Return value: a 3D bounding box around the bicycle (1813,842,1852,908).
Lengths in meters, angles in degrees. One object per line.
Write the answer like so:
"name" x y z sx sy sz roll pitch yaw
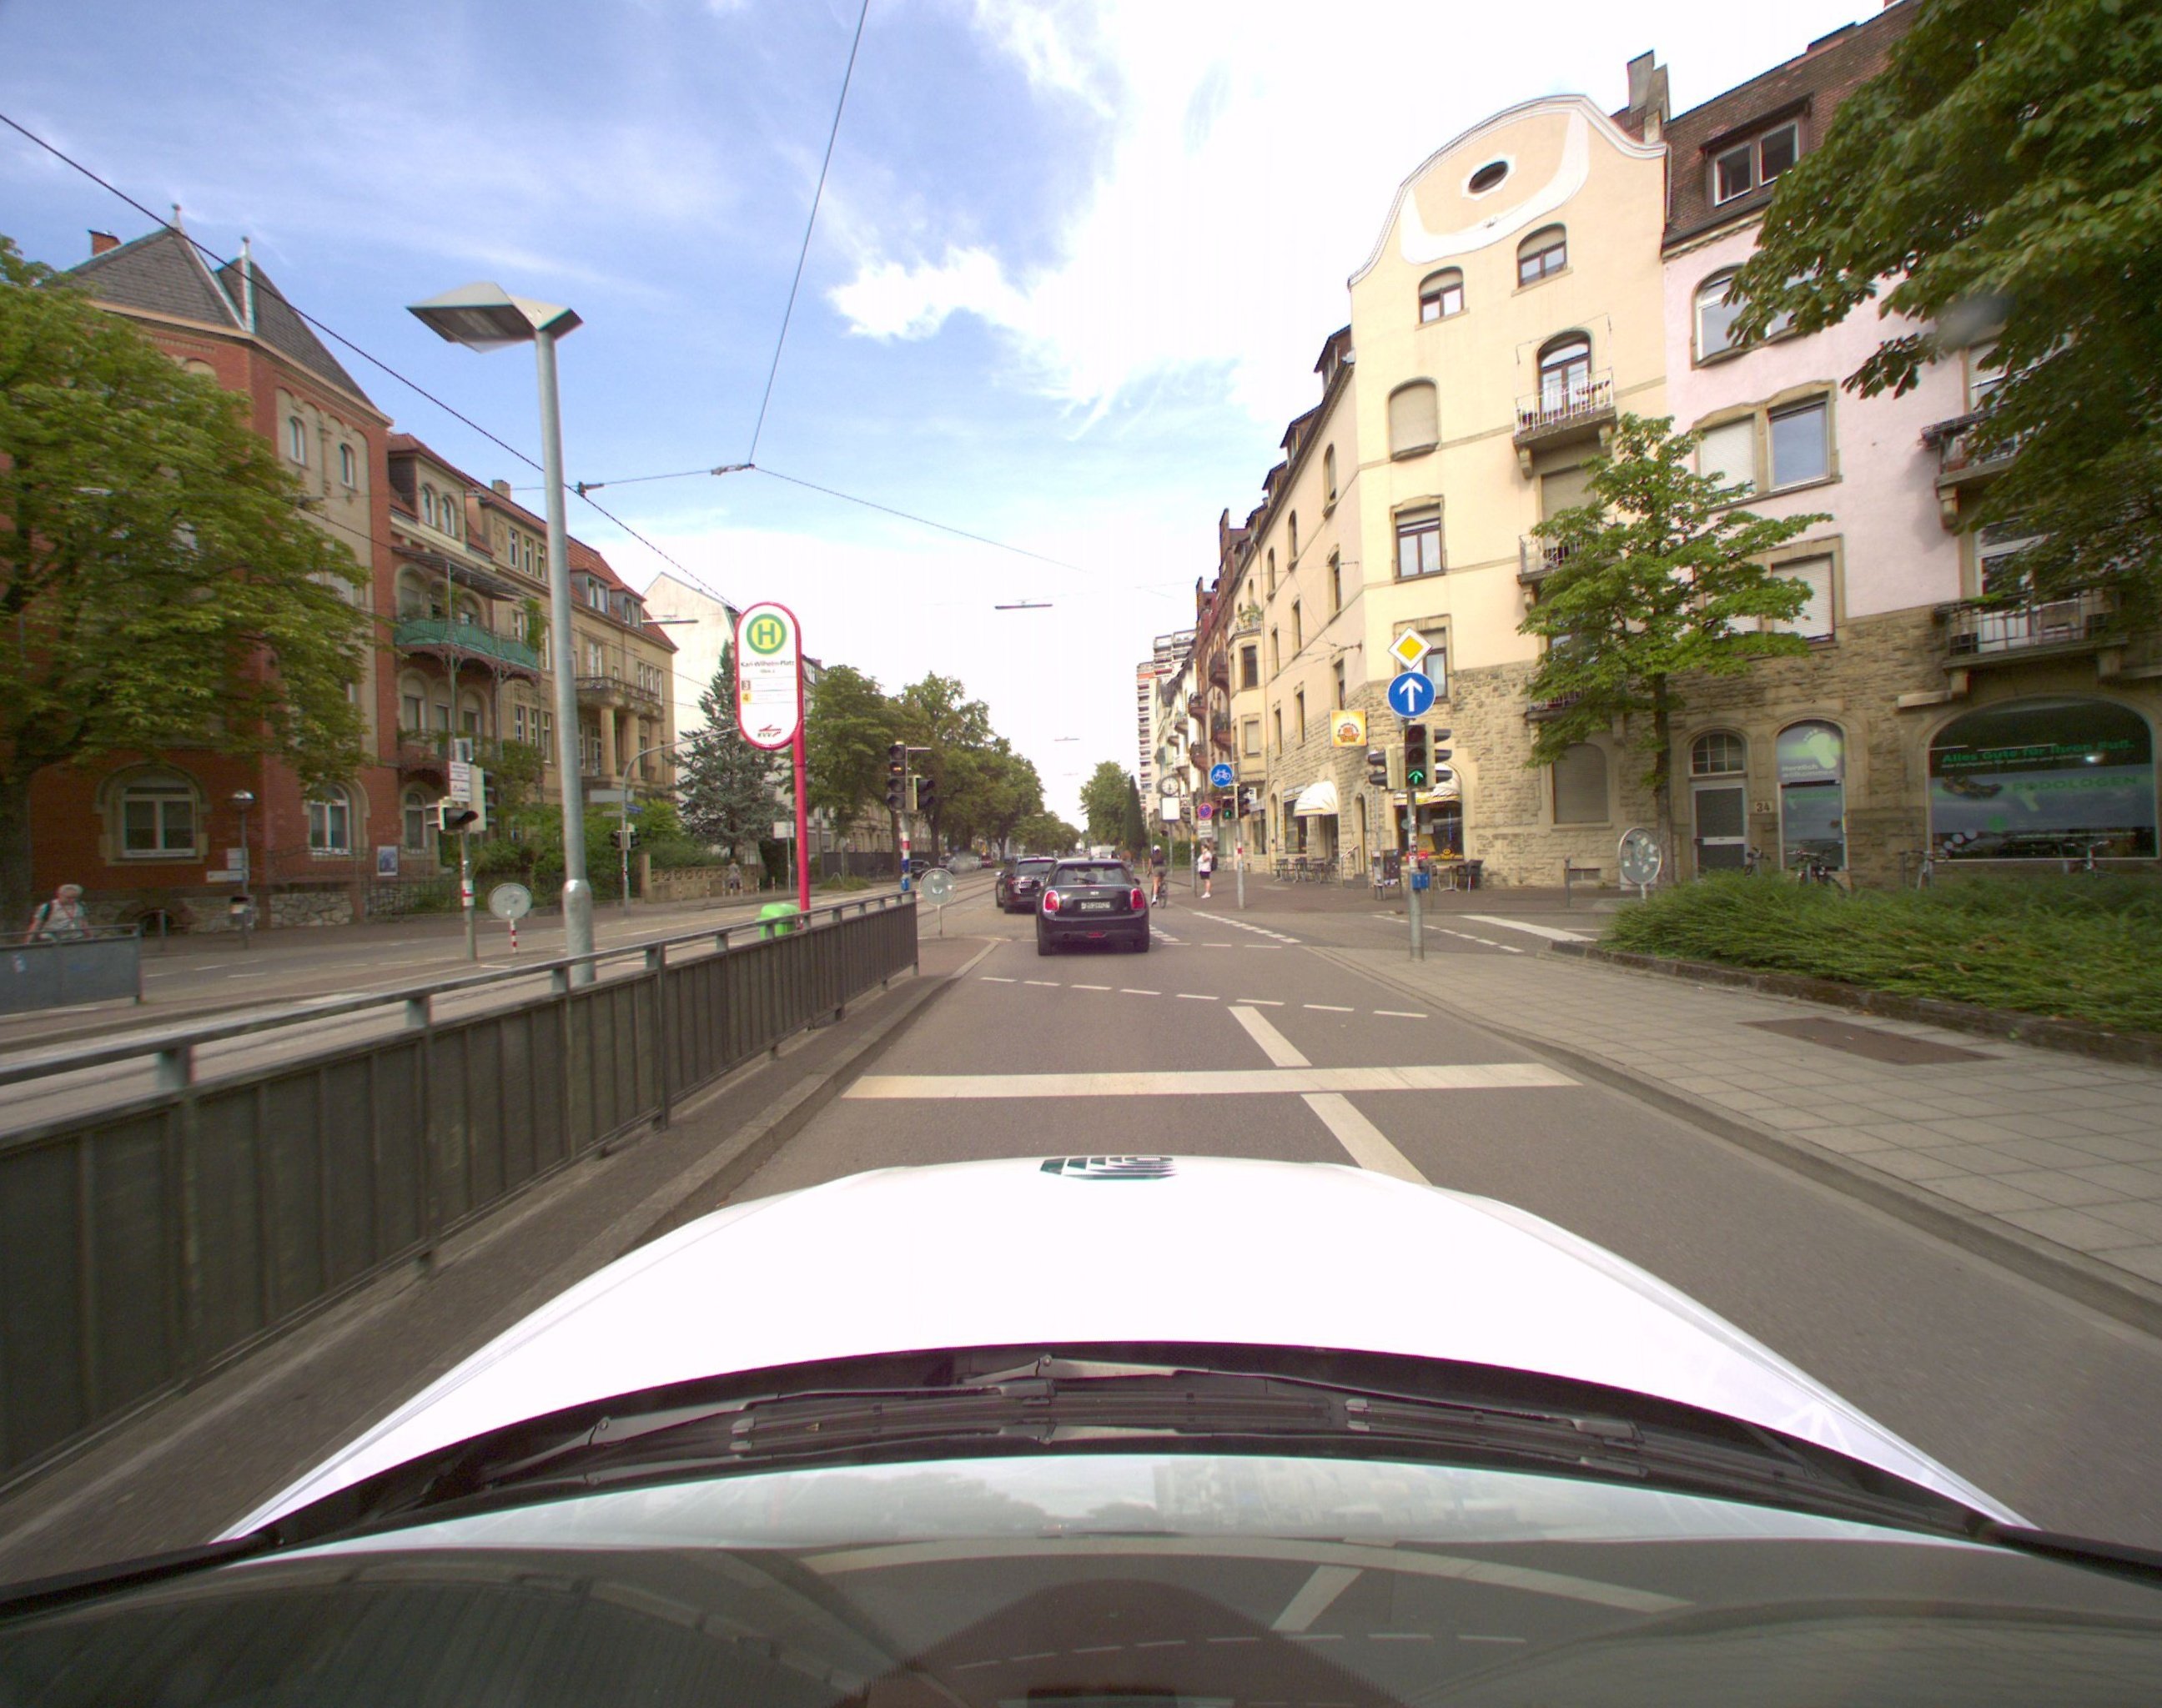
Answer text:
"bicycle" 13.119 0.347 14.204 0.444 1.055 1.659 -2 0 43

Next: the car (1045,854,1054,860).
"car" -8.379 0.752 216.429 1.986 1.552 4.002 -2 0 2

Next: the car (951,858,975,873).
"car" -11.795 1.123 81.555 1.761 1.395 4.000 -2 0 1

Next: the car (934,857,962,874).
"car" -12.034 1.051 73.882 1.761 1.395 4.000 -2 0 1

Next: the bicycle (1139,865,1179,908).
"bicycle" 2.139 0.882 22.501 0.615 1.076 1.815 -3 0 -10

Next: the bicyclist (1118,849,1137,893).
"bicyclist" 1.653 0.594 29.277 0.592 1.550 1.014 -3 0 2

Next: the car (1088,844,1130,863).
"car" 3.662 -0.088 105.881 5.065 2.272 2.369 -2 0 -39

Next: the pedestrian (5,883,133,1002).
"pedestrian" -14.909 1.277 12.022 0.867 1.632 0.744 -2 0 -4

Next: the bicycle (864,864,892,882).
"bicycle" -13.545 1.247 54.387 1.680 1.119 0.566 -3 0 -38

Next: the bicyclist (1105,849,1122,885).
"bicyclist" 1.440 0.566 36.222 0.681 1.564 0.999 -3 0 3

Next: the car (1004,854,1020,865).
"car" -10.937 0.849 129.781 1.986 1.552 4.002 -2 0 2

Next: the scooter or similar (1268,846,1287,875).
"scooter or similar" 8.285 0.272 34.371 0.506 1.188 1.262 -3 0 2

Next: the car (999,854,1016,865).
"car" -11.079 0.842 123.581 1.986 1.552 4.002 -2 0 2

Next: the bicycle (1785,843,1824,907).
"bicycle" 12.976 0.353 14.589 0.444 1.055 1.659 -2 0 43

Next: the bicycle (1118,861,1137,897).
"bicycle" 1.663 0.880 29.280 0.596 1.170 1.697 -3 0 2

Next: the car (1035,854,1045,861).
"car" -9.389 0.748 186.510 1.986 1.552 4.002 -2 0 2

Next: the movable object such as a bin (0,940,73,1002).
"movable object such as a bin" -15.342 1.693 11.760 0.727 0.799 0.621 -2 0 -4

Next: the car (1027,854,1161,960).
"car" 0.062 0.754 13.634 1.749 1.441 3.992 -2 0 -6

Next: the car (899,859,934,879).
"car" -12.465 1.108 61.858 1.761 1.395 4.000 -2 0 1

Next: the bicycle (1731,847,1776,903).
"bicycle" 12.677 0.382 15.362 0.595 0.972 1.683 -2 0 39

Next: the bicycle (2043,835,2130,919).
"bicycle" 14.796 0.300 12.026 0.526 1.128 1.905 -2 0 43

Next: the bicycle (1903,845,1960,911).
"bicycle" 13.910 0.374 13.348 0.526 0.972 1.659 -2 0 43

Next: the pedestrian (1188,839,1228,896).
"pedestrian" 3.967 0.415 25.530 0.840 1.674 0.724 -6 0 -42

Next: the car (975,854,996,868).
"car" -11.754 0.833 100.611 1.986 1.552 4.002 -2 0 2

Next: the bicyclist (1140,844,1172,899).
"bicyclist" 2.087 0.474 22.713 0.615 1.472 0.912 -3 0 -10

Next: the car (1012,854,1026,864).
"car" -10.630 0.848 139.815 1.986 1.552 4.002 -2 0 2

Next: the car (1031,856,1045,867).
"car" -6.116 1.021 116.230 1.761 1.395 4.000 -2 0 1

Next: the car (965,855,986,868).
"car" -11.920 0.832 92.210 1.761 1.395 4.000 -2 0 1

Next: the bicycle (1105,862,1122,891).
"bicycle" 1.462 0.985 36.253 0.681 1.170 1.698 -3 0 4

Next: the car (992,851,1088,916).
"car" -1.227 0.735 22.204 1.929 1.510 3.983 -2 0 -13

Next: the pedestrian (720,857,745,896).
"pedestrian" -16.245 1.032 37.959 0.727 1.783 0.836 -2 0 2
